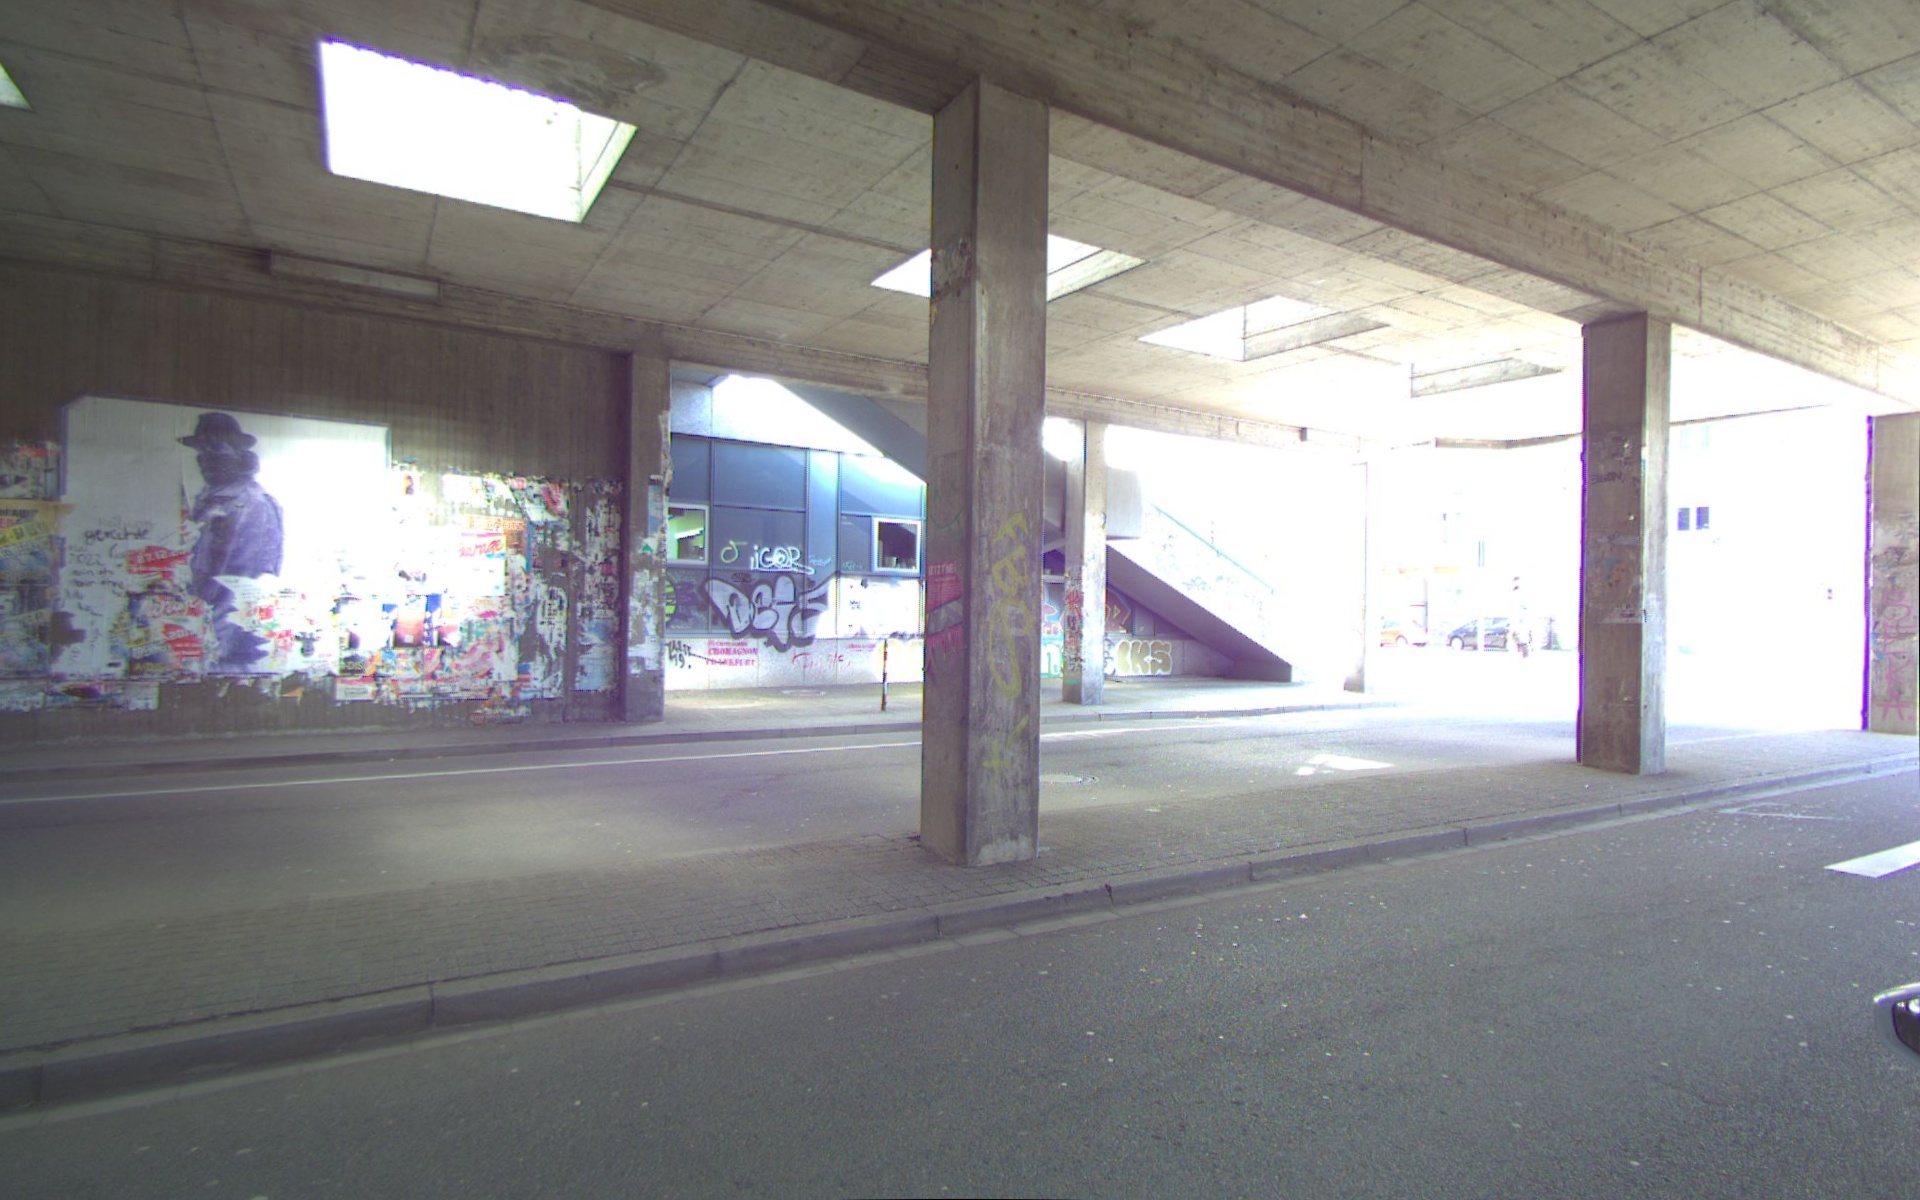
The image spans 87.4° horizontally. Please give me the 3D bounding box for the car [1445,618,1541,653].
[{"bbox_3d":[25.310,1.661,47.809,1.732,1.528,3.735,1,-1,-31],"label":"car"}]

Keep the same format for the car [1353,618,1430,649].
[{"bbox_3d":[22.497,1.708,52.469,1.543,1.526,3.518,1,-1,-29],"label":"car"}]

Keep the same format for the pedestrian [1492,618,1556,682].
[{"bbox_3d":[15.833,1.385,28.224,1.123,1.760,1.111,1,-1,-17],"label":"pedestrian"}]
